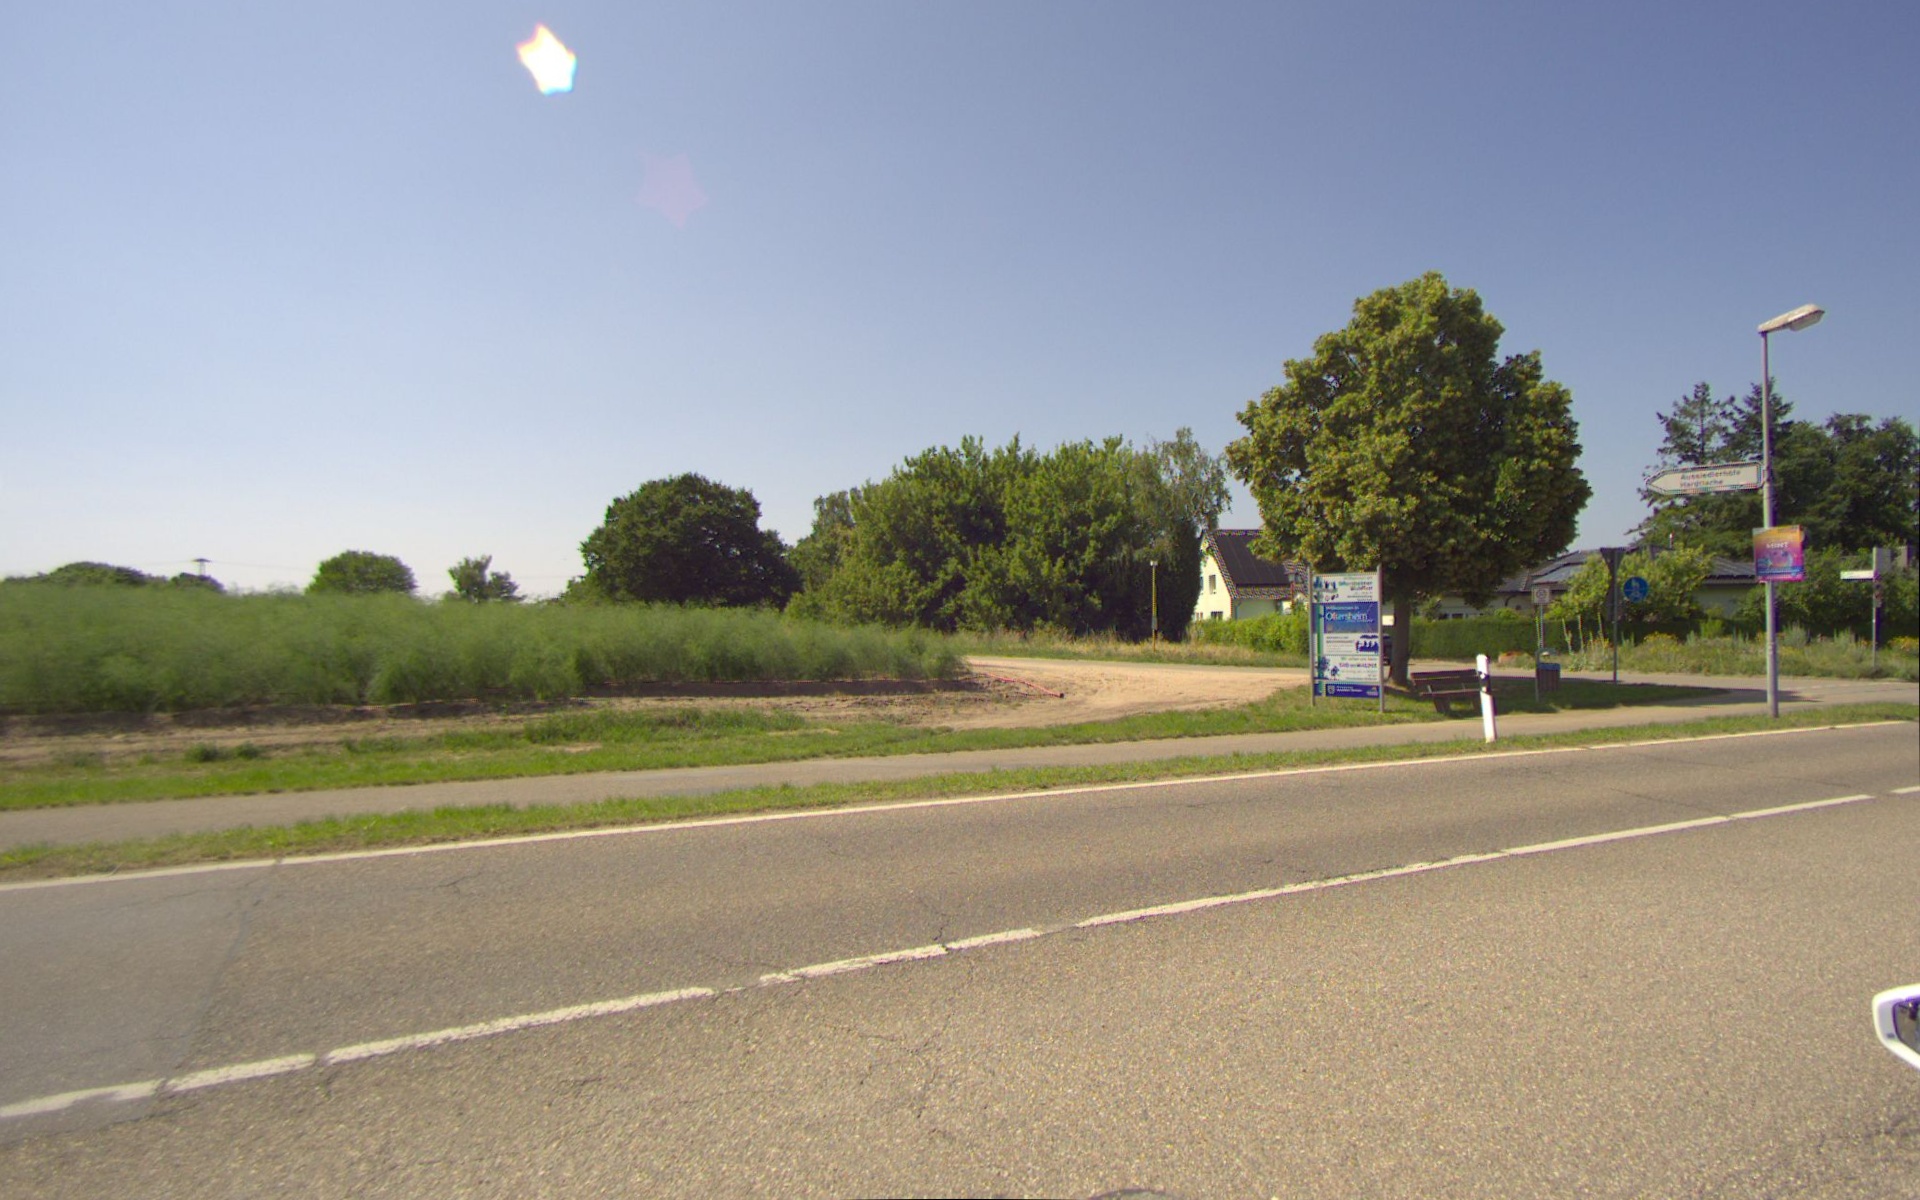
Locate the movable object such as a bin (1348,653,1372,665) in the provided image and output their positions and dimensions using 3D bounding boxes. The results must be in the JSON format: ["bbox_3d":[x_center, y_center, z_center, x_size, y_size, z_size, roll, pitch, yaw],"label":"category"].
[{"bbox_3d":[14.446,2.126,36.288,0.749,0.416,0.320,0,-1,12],"label":"movable object such as a bin"}]

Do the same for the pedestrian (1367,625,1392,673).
[{"bbox_3d":[15.478,1.792,37.089,0.663,1.739,0.550,0,-1,-5],"label":"pedestrian"}]

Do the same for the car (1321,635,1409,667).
[{"bbox_3d":[21.067,2.655,52.381,1.857,1.539,3.973,-1,-2,-27],"label":"car"}]
